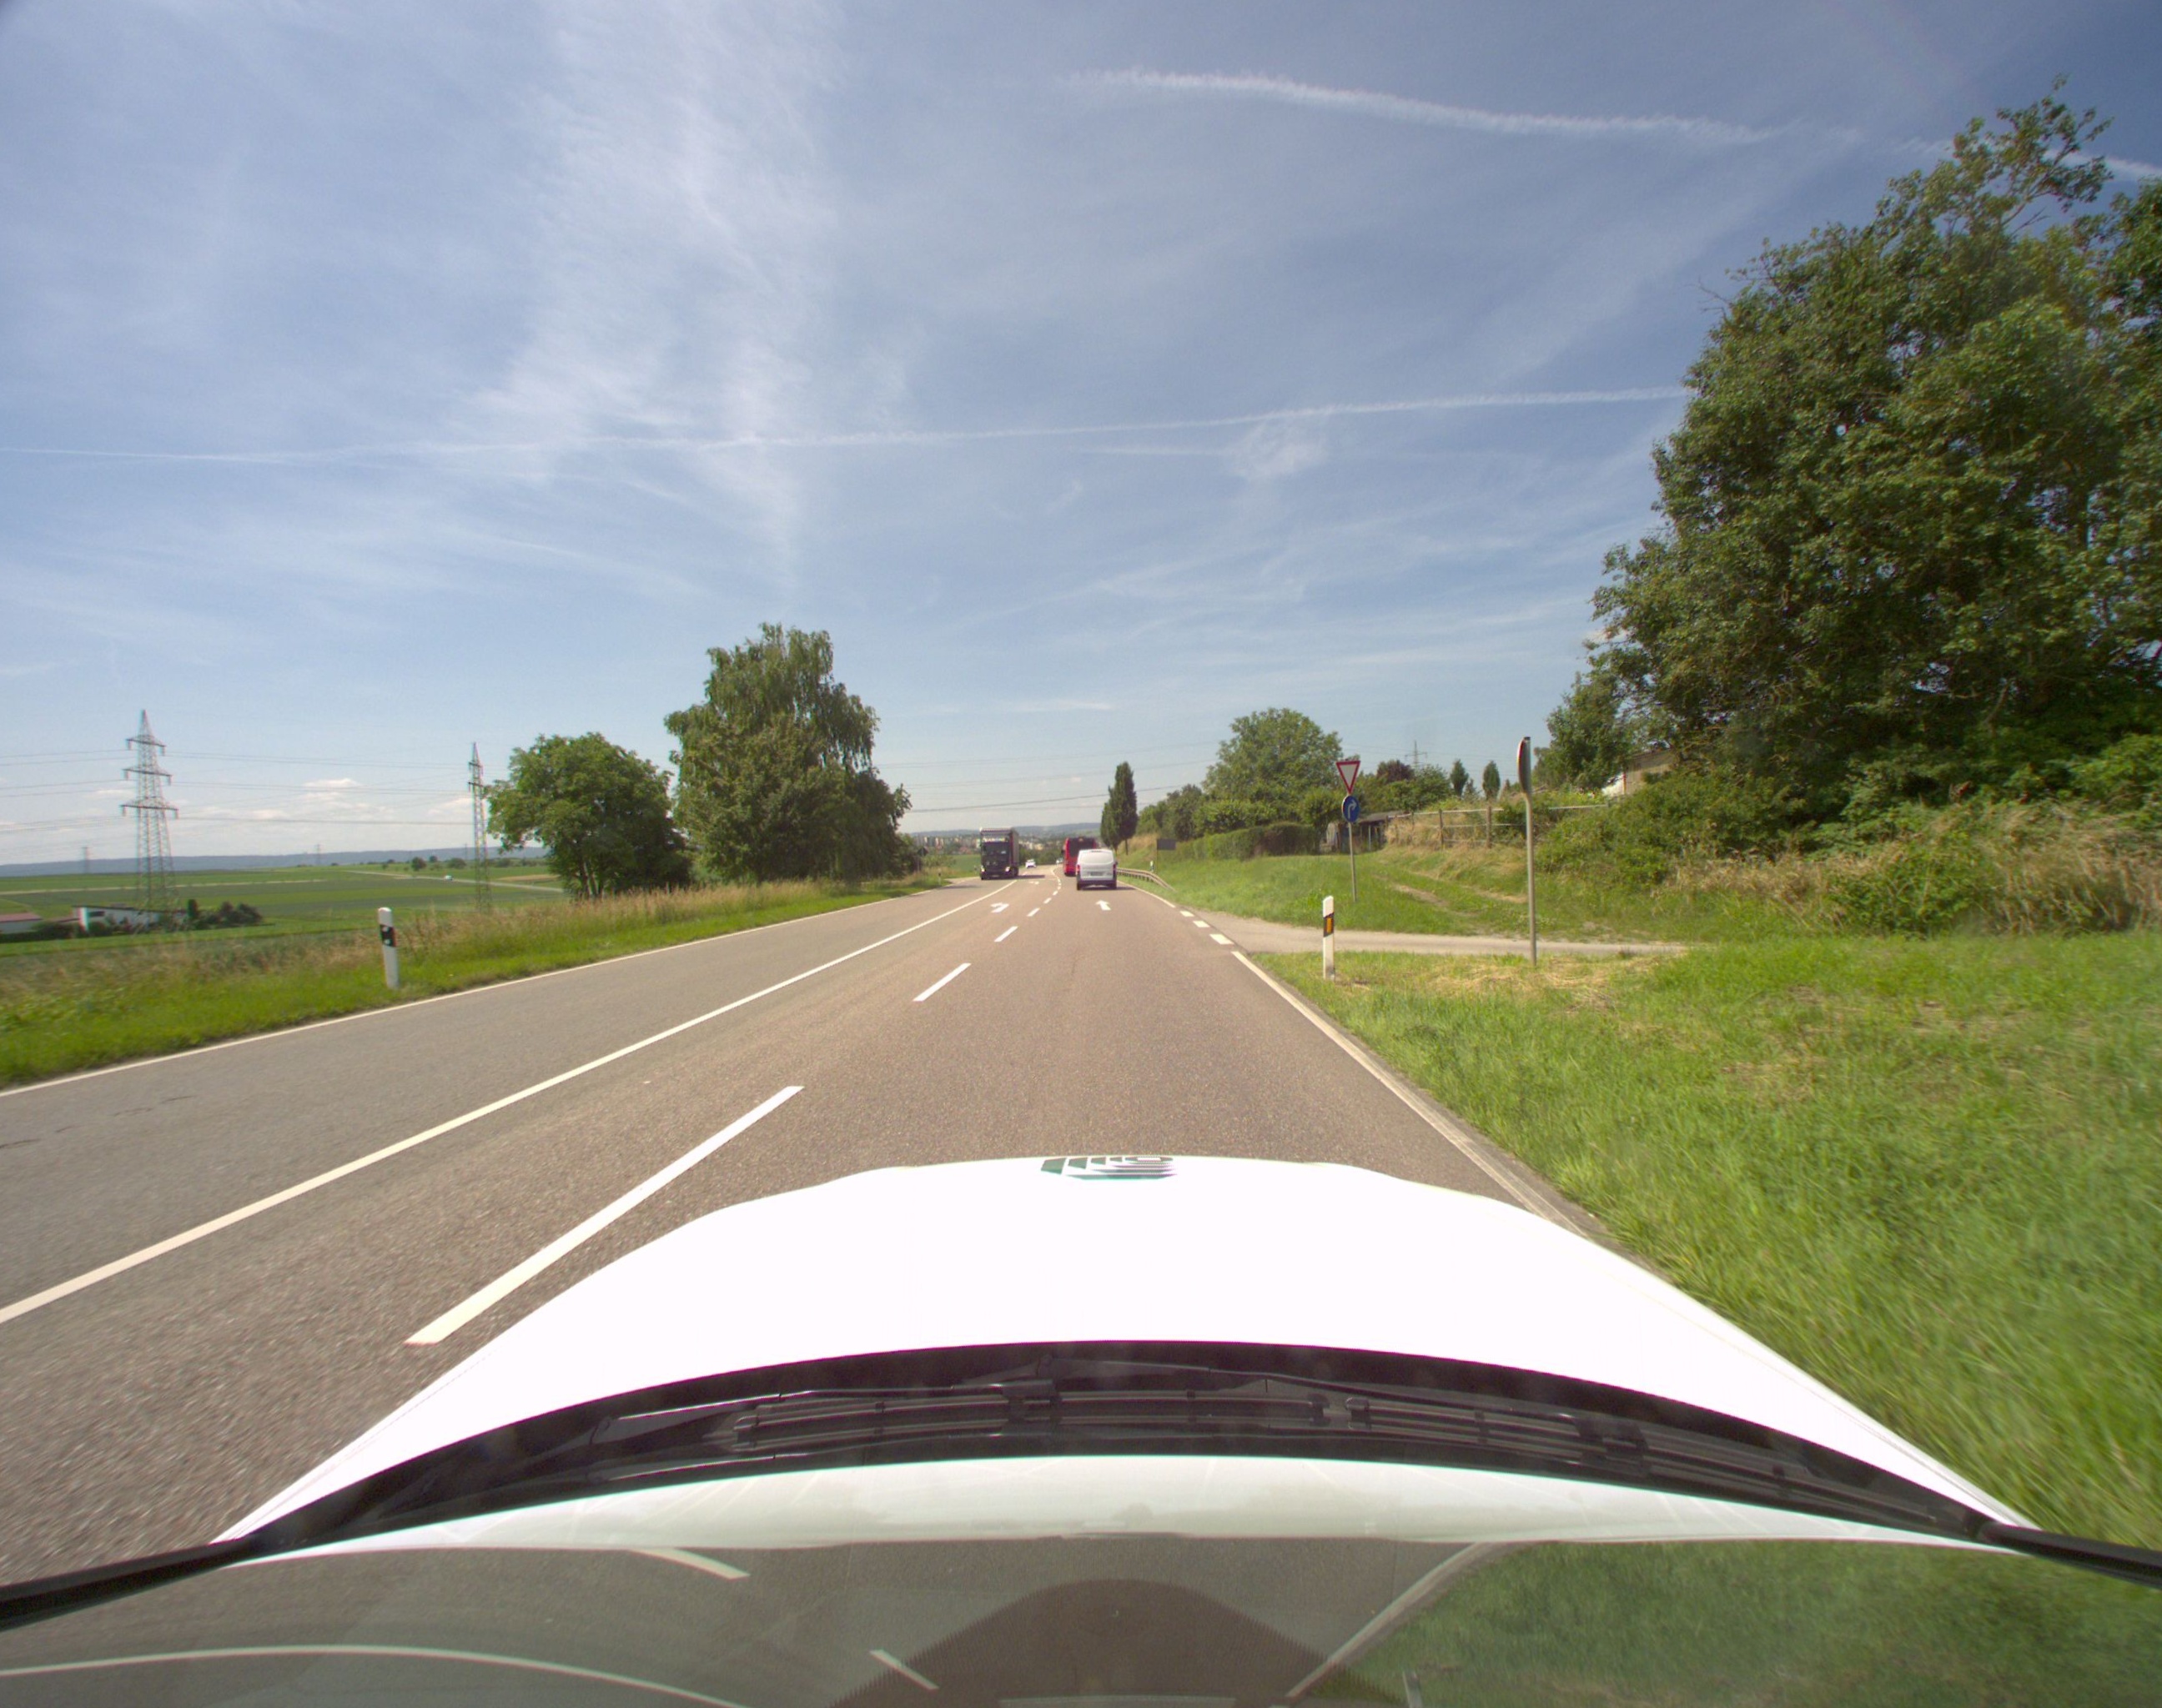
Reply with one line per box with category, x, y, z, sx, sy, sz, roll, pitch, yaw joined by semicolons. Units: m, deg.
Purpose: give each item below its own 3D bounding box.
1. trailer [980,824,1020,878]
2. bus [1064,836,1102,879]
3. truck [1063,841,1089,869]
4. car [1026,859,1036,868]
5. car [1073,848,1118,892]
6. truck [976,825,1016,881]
trailer;-6.867;-0.167;70.730;2.586;4.143;13.727;-2;0;-2
bus;-0.011;0.140;72.678;2.740;3.353;13.213;-4;1;-2
truck;-0.770;0.099;139.662;3.474;4.423;14.912;-3;0;2
car;-9.828;1.852;160.269;1.848;1.565;4.073;-3;0;-1
car;0.723;0.702;39.102;1.916;1.889;4.002;-3;0;2
truck;-6.592;-0.080;63.931;2.578;4.104;5.437;-2;0;-2
